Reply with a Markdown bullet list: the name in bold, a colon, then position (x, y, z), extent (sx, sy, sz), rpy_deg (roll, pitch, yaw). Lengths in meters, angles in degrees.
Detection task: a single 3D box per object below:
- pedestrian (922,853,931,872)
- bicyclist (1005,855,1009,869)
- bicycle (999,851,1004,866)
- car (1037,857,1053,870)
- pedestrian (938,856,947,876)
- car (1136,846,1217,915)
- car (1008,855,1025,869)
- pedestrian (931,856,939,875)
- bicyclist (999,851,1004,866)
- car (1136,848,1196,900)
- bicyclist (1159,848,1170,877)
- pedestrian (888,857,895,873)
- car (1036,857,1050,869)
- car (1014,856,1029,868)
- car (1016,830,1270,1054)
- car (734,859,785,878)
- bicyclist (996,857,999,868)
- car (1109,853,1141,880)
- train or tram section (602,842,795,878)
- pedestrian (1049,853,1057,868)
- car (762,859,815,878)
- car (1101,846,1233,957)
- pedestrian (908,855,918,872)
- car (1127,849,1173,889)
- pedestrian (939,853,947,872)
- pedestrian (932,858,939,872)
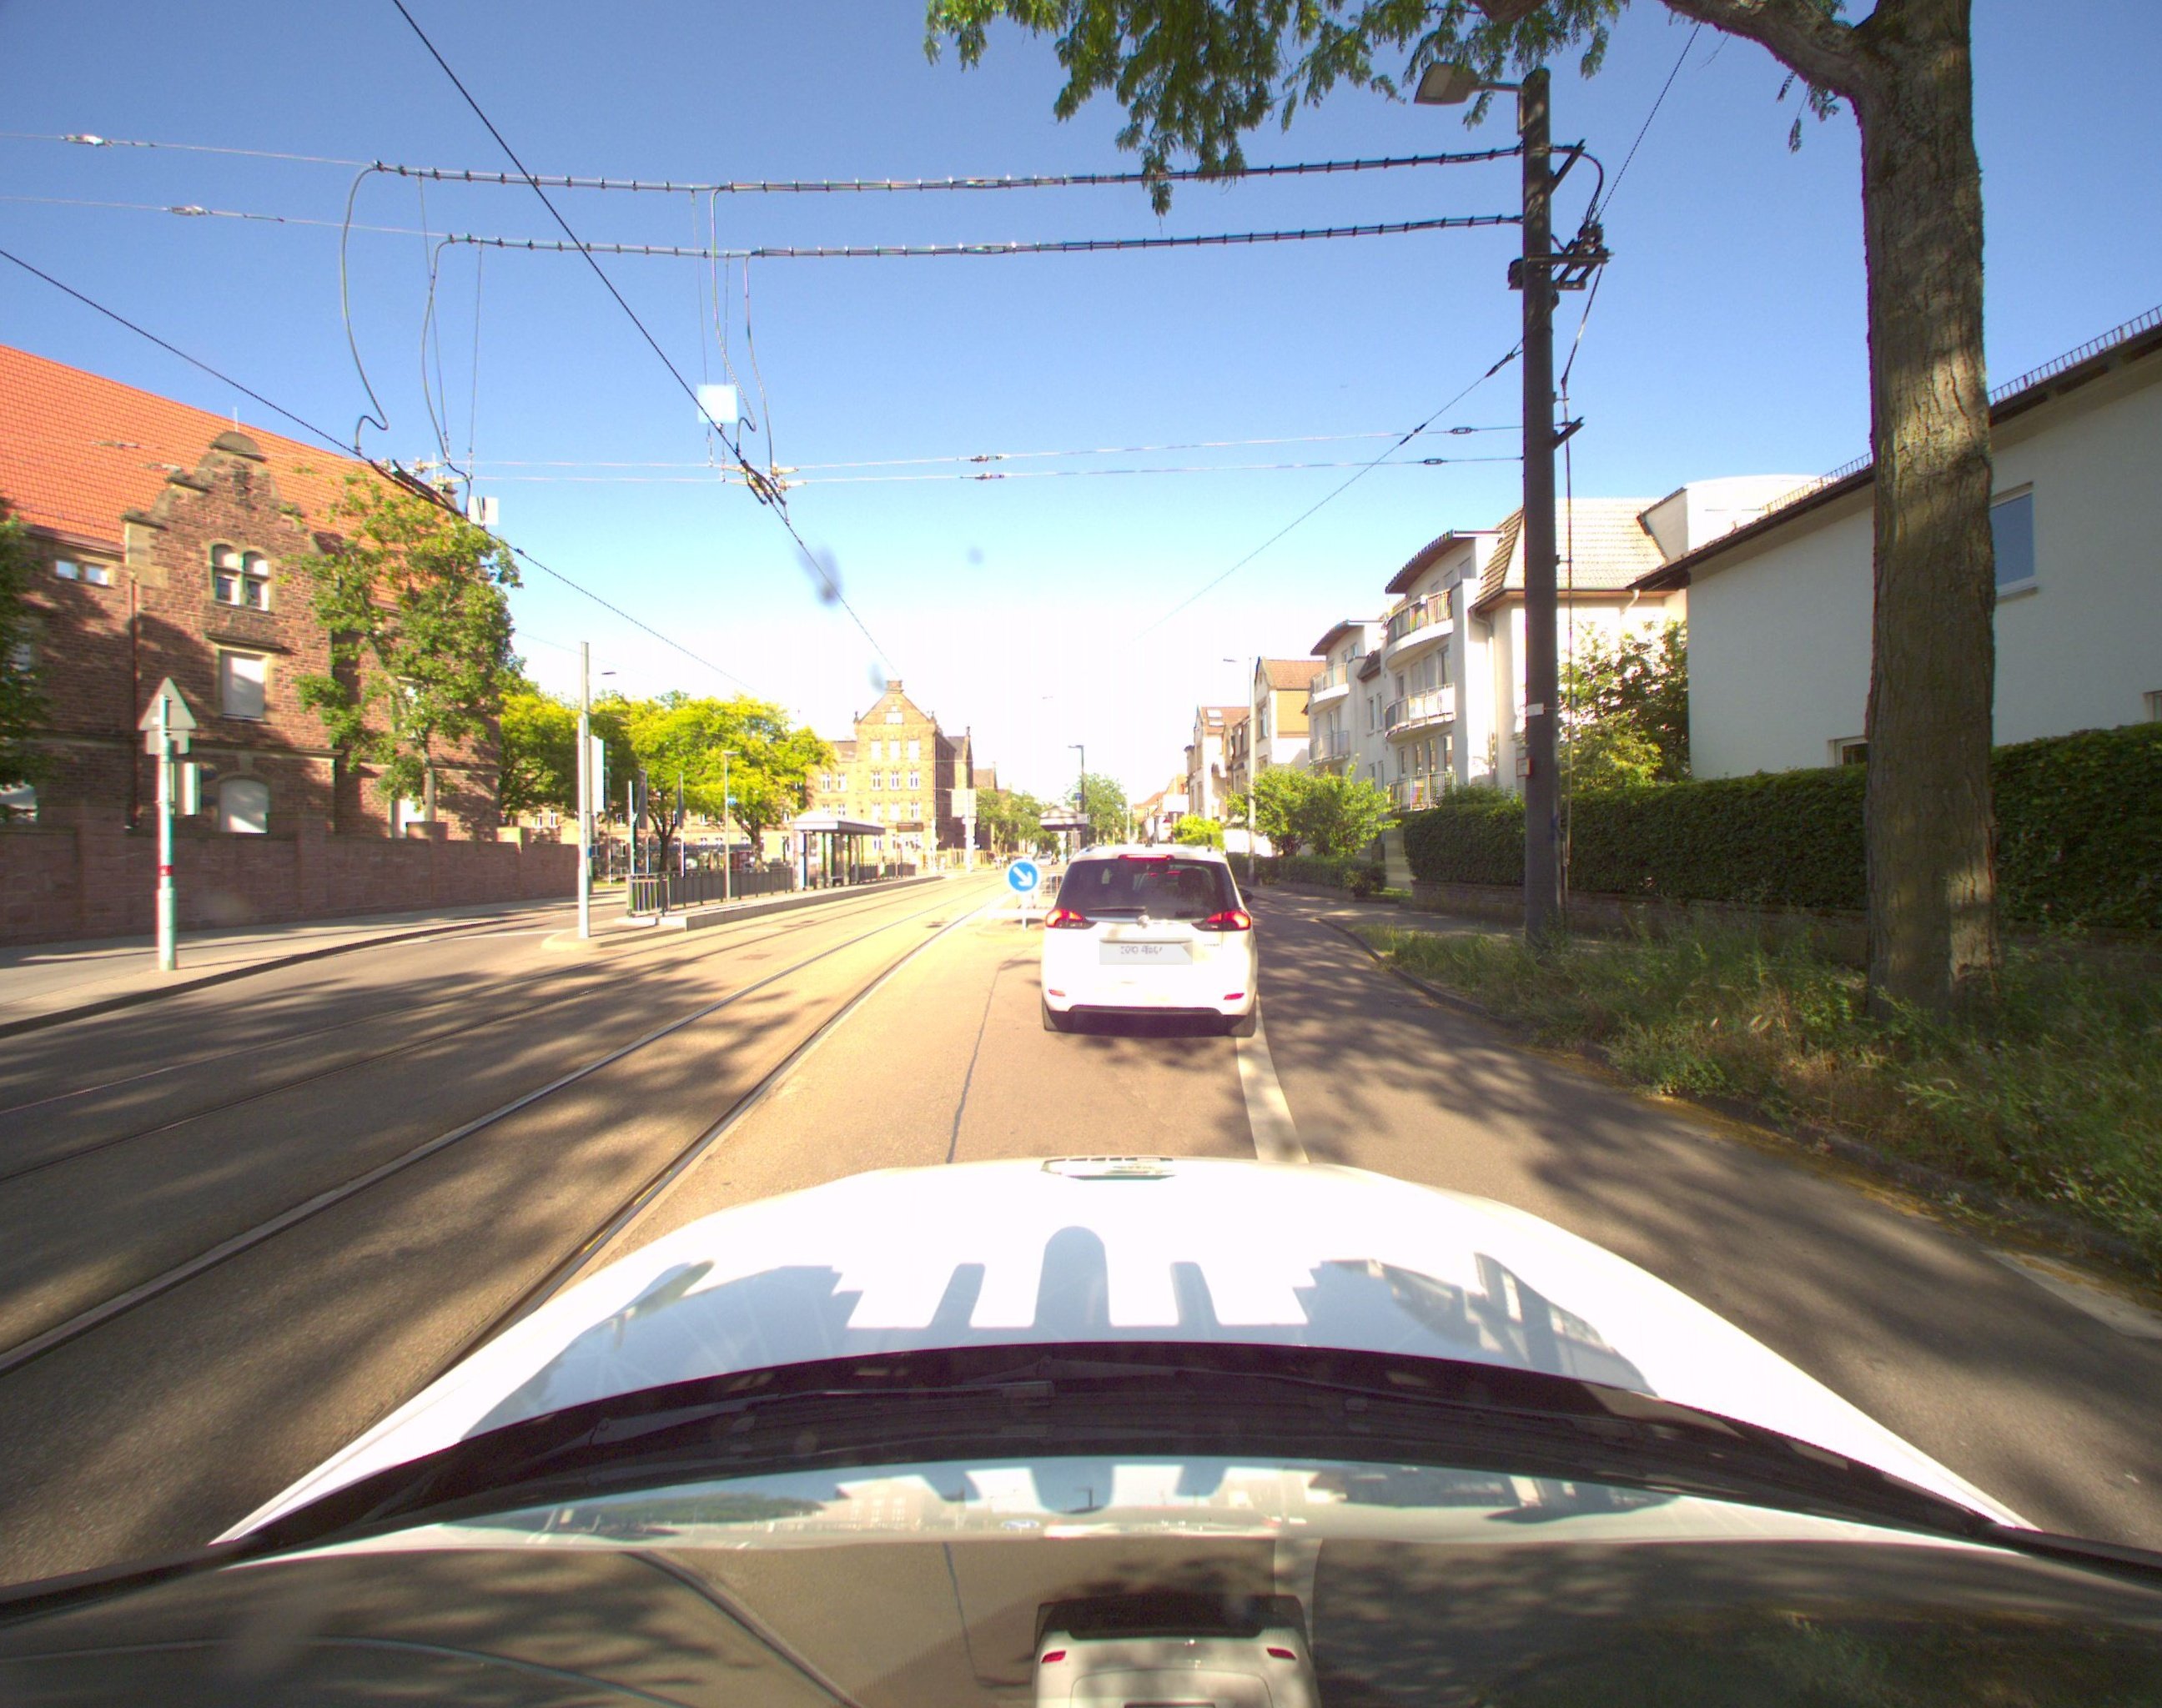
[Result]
- **pedestrian**: position (-16.884, 0.951, 89.058), extent (0.800, 2.014, 0.713), rpy_deg (0, -1, -32)
- **bicyclist**: position (-10.175, 1.104, 112.078), extent (0.486, 2.014, 0.502), rpy_deg (0, -1, 1)
- **bicycle**: position (-10.678, 0.644, 109.523), extent (0.485, 2.013, 1.406), rpy_deg (-1, 0, 2)
- **car**: position (-4.708, 1.266, 107.670), extent (1.740, 1.716, 4.001), rpy_deg (0, -1, 2)
- **pedestrian**: position (-14.548, 1.247, 85.507), extent (0.796, 2.014, 0.717), rpy_deg (0, -1, -15)
- **car**: position (2.623, 0.642, 21.687), extent (1.896, 1.624, 4.010), rpy_deg (-1, 0, 9)
- **car**: position (-8.499, 1.041, 107.450), extent (1.740, 1.716, 4.001), rpy_deg (0, -1, 2)
- **pedestrian**: position (-15.919, 1.247, 88.959), extent (0.795, 2.014, 1.042), rpy_deg (0, -1, -12)
- **bicyclist**: position (-10.684, 0.644, 109.511), extent (0.496, 2.013, 0.572), rpy_deg (-1, 0, 1)
- **car**: position (2.978, 0.657, 28.344), extent (1.897, 1.661, 4.007), rpy_deg (-1, 0, 6)
- **bicyclist**: position (4.885, 0.518, 47.731), extent (0.613, 1.686, 0.780), rpy_deg (-1, 0, 6)
- **pedestrian**: position (-20.441, 1.191, 87.934), extent (0.768, 1.774, 0.717), rpy_deg (0, -1, -15)
- **car**: position (-5.371, 1.298, 115.549), extent (1.740, 1.716, 4.001), rpy_deg (0, -1, 2)
- **car**: position (-8.331, 1.127, 114.117), extent (1.740, 1.716, 4.001), rpy_deg (0, -1, 2)
- **car**: position (0.766, 0.668, 8.158), extent (1.896, 1.661, 4.010), rpy_deg (-1, 0, 9)
- **car**: position (-29.652, 1.326, 75.211), extent (3.976, 1.630, 1.817), rpy_deg (0, -1, -2)
- **bicyclist**: position (-10.665, 1.067, 103.494), extent (0.312, 1.444, 0.384), rpy_deg (-1, 0, 1)
- **car**: position (2.844, 0.758, 53.180), extent (1.901, 1.661, 4.000), rpy_deg (-1, 0, 0)
- **train or tram section**: position (-37.843, 0.588, 81.143), extent (17.346, 3.154, 3.344), rpy_deg (-1, -1, -3)
- **pedestrian**: position (-3.410, 0.777, 99.128), extent (0.744, 1.901, 0.805), rpy_deg (0, -1, -20)
- **car**: position (-25.444, 1.249, 70.968), extent (3.976, 1.630, 1.817), rpy_deg (0, -1, -2)
- **car**: position (1.562, 0.692, 13.866), extent (1.896, 1.597, 4.010), rpy_deg (-1, 0, 9)
- **pedestrian**: position (-18.447, 1.046, 89.661), extent (0.802, 1.901, 0.747), rpy_deg (-1, -1, 16)
- **car**: position (2.998, 0.622, 36.187), extent (1.899, 1.661, 4.003), rpy_deg (-1, 0, 3)
- **pedestrian**: position (-15.228, 0.946, 89.892), extent (0.798, 2.014, 0.715), rpy_deg (0, -1, -24)
- **pedestrian**: position (-17.169, 1.267, 95.899), extent (0.651, 1.612, 0.712), rpy_deg (0, -1, 4)
